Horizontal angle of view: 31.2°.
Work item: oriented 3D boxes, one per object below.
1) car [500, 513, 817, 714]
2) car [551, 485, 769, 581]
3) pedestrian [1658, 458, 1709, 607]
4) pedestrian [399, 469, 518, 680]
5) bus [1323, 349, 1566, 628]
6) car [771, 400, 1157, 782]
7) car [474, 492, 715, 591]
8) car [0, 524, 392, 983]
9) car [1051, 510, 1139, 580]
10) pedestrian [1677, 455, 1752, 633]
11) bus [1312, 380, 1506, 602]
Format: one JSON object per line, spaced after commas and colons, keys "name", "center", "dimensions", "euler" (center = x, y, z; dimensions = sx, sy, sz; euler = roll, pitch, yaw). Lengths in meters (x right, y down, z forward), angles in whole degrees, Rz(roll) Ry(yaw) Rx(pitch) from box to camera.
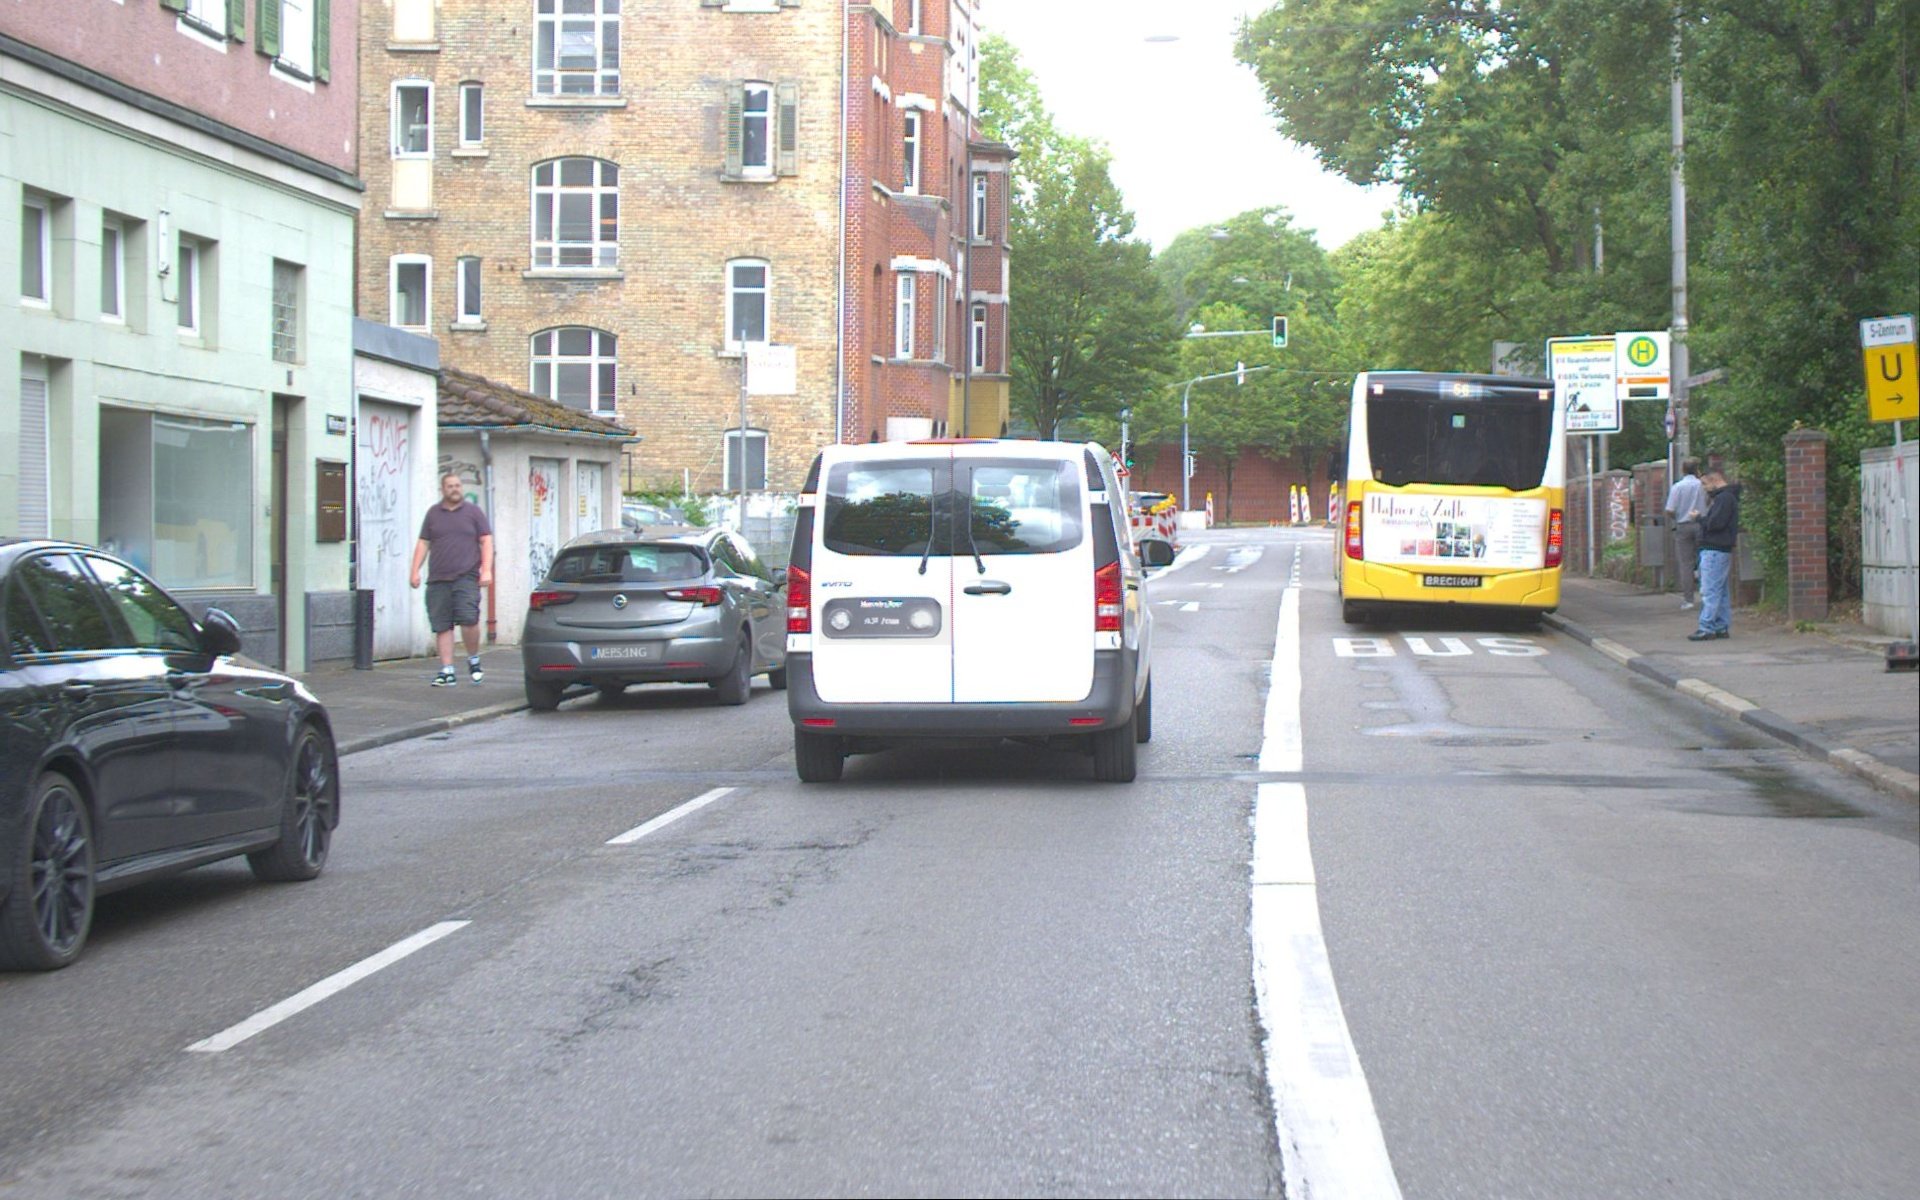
{"name": "car", "center": [-2.441, 0.051, 28.844], "dimensions": [1.878, 1.481, 4.126], "euler": [2, 2, 6]}
{"name": "car", "center": [-5.378, -1.201, 61.783], "dimensions": [3.597, 1.606, 1.688], "euler": [-1, 1, 7]}
{"name": "pedestrian", "center": [8.765, -0.819, 41.669], "dimensions": [0.450, 1.773, 0.672], "euler": [-3, 1, 6]}
{"name": "pedestrian", "center": [-4.272, -0.220, 29.334], "dimensions": [0.761, 1.738, 0.984], "euler": [2, 1, 3]}
{"name": "bus", "center": [6.112, -1.425, 44.581], "dimensions": [2.663, 3.125, 10.038], "euler": [2, 2, 6]}
{"name": "car", "center": [0.155, -0.038, 20.131], "dimensions": [1.917, 1.895, 4.701], "euler": [2, 0, 3]}
{"name": "car", "center": [-5.998, -0.971, 56.630], "dimensions": [3.597, 1.499, 1.853], "euler": [-1, 1, 7]}
{"name": "car", "center": [-3.709, 0.461, 12.673], "dimensions": [1.829, 1.450, 4.920], "euler": [0, 1, 8]}
{"name": "car", "center": [3.263, -1.349, 82.459], "dimensions": [1.725, 1.480, 4.390], "euler": [1, 3, 7]}
{"name": "pedestrian", "center": [7.673, -0.572, 34.985], "dimensions": [0.582, 1.772, 0.821], "euler": [2, 1, 5]}
{"name": "bus", "center": [6.972, -1.701, 54.198], "dimensions": [2.672, 3.127, 9.216], "euler": [2, 2, 6]}
